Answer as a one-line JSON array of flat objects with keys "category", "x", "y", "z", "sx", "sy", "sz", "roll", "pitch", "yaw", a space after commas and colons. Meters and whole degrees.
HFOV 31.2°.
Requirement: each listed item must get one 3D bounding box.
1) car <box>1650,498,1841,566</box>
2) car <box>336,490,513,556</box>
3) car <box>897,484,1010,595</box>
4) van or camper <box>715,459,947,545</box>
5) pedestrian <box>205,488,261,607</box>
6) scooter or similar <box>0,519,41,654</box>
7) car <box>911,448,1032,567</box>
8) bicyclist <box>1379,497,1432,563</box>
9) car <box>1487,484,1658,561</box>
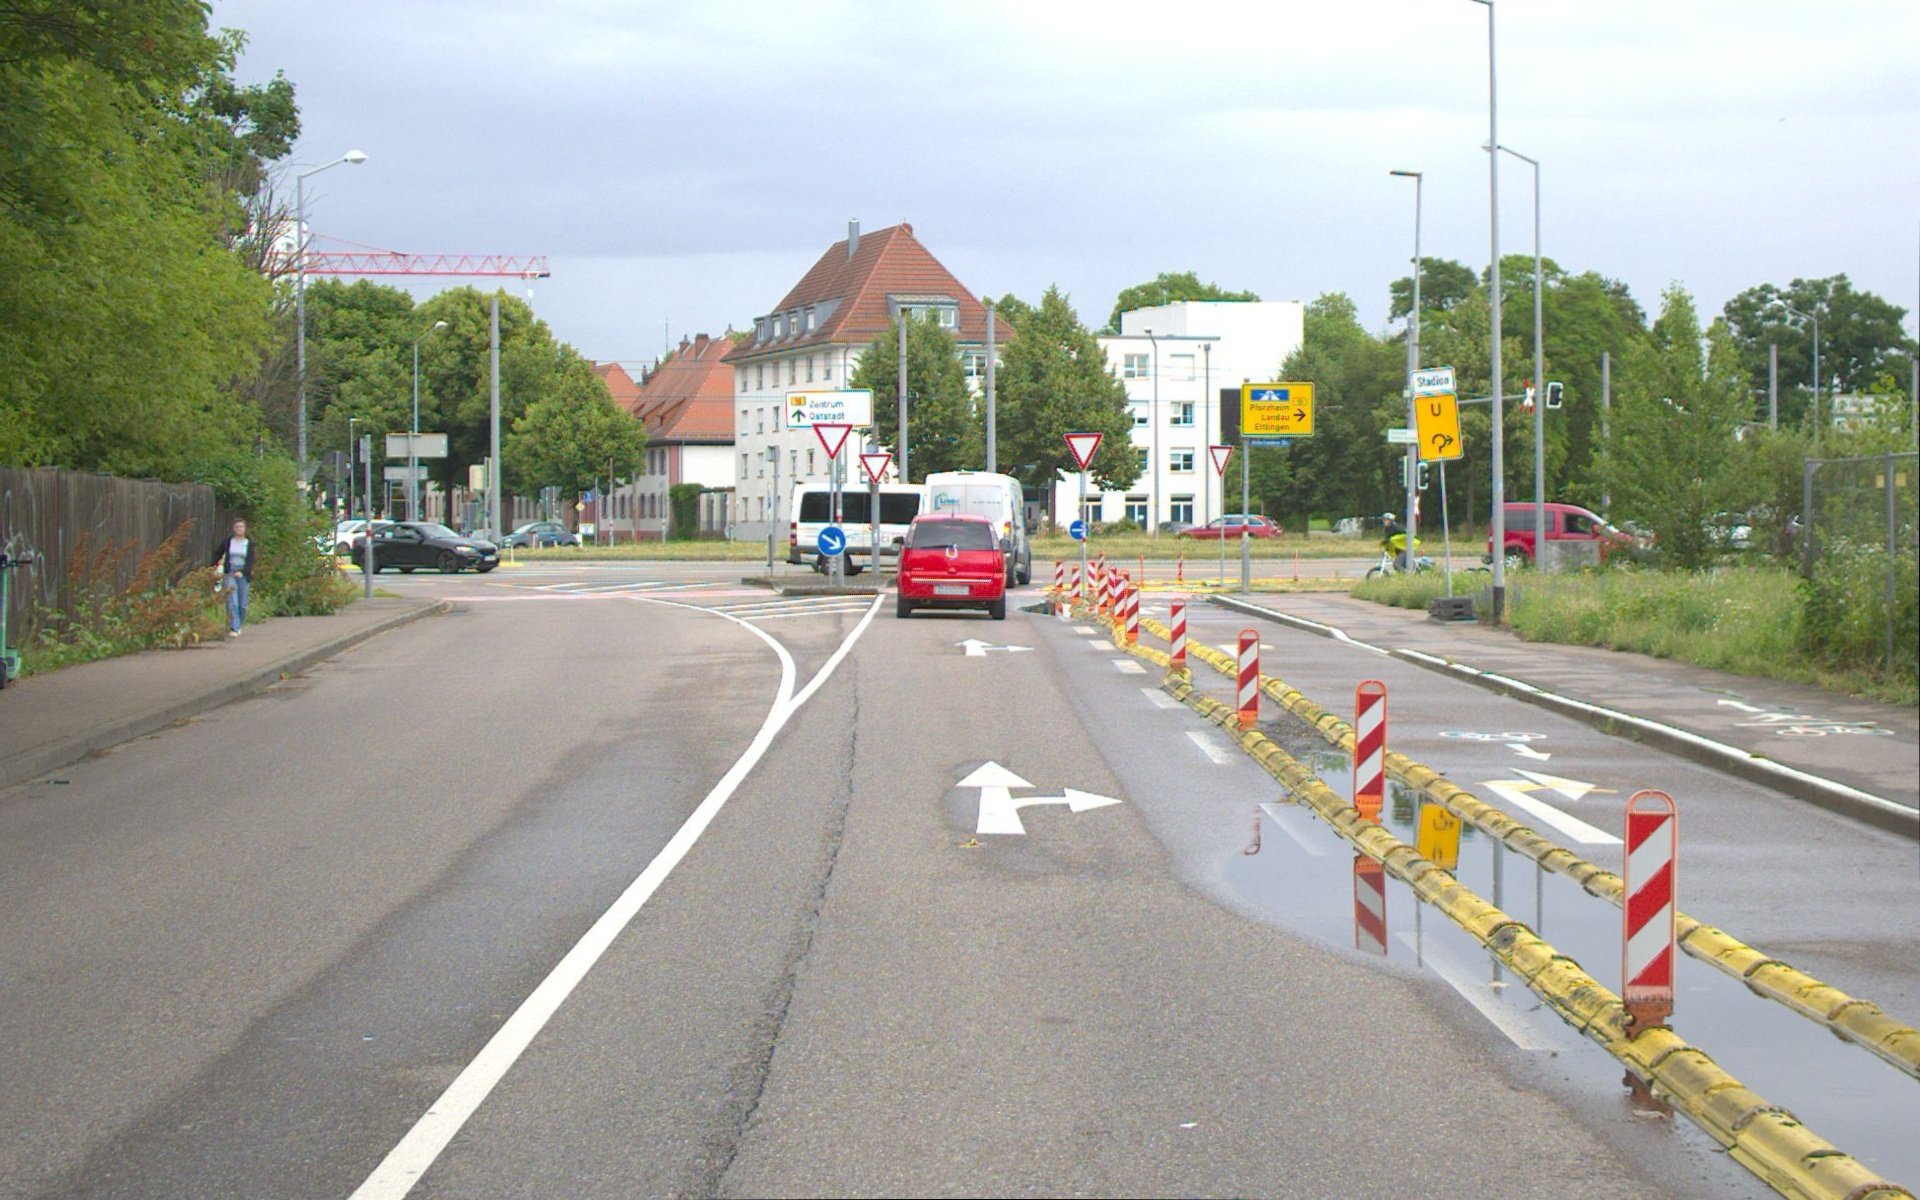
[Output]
[{"category": "car", "x": 21.356, "y": -1.858, "z": 93.567, "sx": 4.604, "sy": 1.789, "sz": 2.110, "roll": 1, "pitch": 2, "yaw": 41}, {"category": "car", "x": -14.625, "y": -2.108, "z": 93.979, "sx": 4.362, "sy": 1.744, "sz": 1.999, "roll": 0, "pitch": 1, "yaw": 10}, {"category": "car", "x": -0.095, "y": -0.956, "z": 53.523, "sx": 1.673, "sy": 1.635, "sz": 3.627, "roll": 1, "pitch": 2, "yaw": 0}, {"category": "van or camper", "x": -3.194, "y": -2.438, "z": 85.828, "sx": 5.535, "sy": 2.108, "sz": 2.000, "roll": 0, "pitch": 1, "yaw": 7}, {"category": "pedestrian", "x": -9.464, "y": -0.689, "z": 44.781, "sx": 0.612, "sy": 1.524, "sz": 0.724, "roll": 0, "pitch": 1, "yaw": -4}, {"category": "scooter or similar", "x": -8.519, "y": -0.132, "z": 30.621, "sx": 0.422, "sy": 1.166, "sz": 1.304, "roll": 0, "pitch": 2, "yaw": -5}, {"category": "car", "x": 0.298, "y": -2.070, "z": 77.008, "sx": 2.195, "sy": 2.531, "sz": 4.961, "roll": 1, "pitch": 2, "yaw": 6}, {"category": "bicyclist", "x": 9.388, "y": -1.477, "z": 72.433, "sx": 1.062, "sy": 1.396, "sz": 0.615, "roll": 0, "pitch": 1, "yaw": 3}, {"category": "car", "x": 15.477, "y": -1.964, "z": 86.838, "sx": 4.196, "sy": 1.911, "sz": 2.115, "roll": 0, "pitch": 1, "yaw": 11}]
